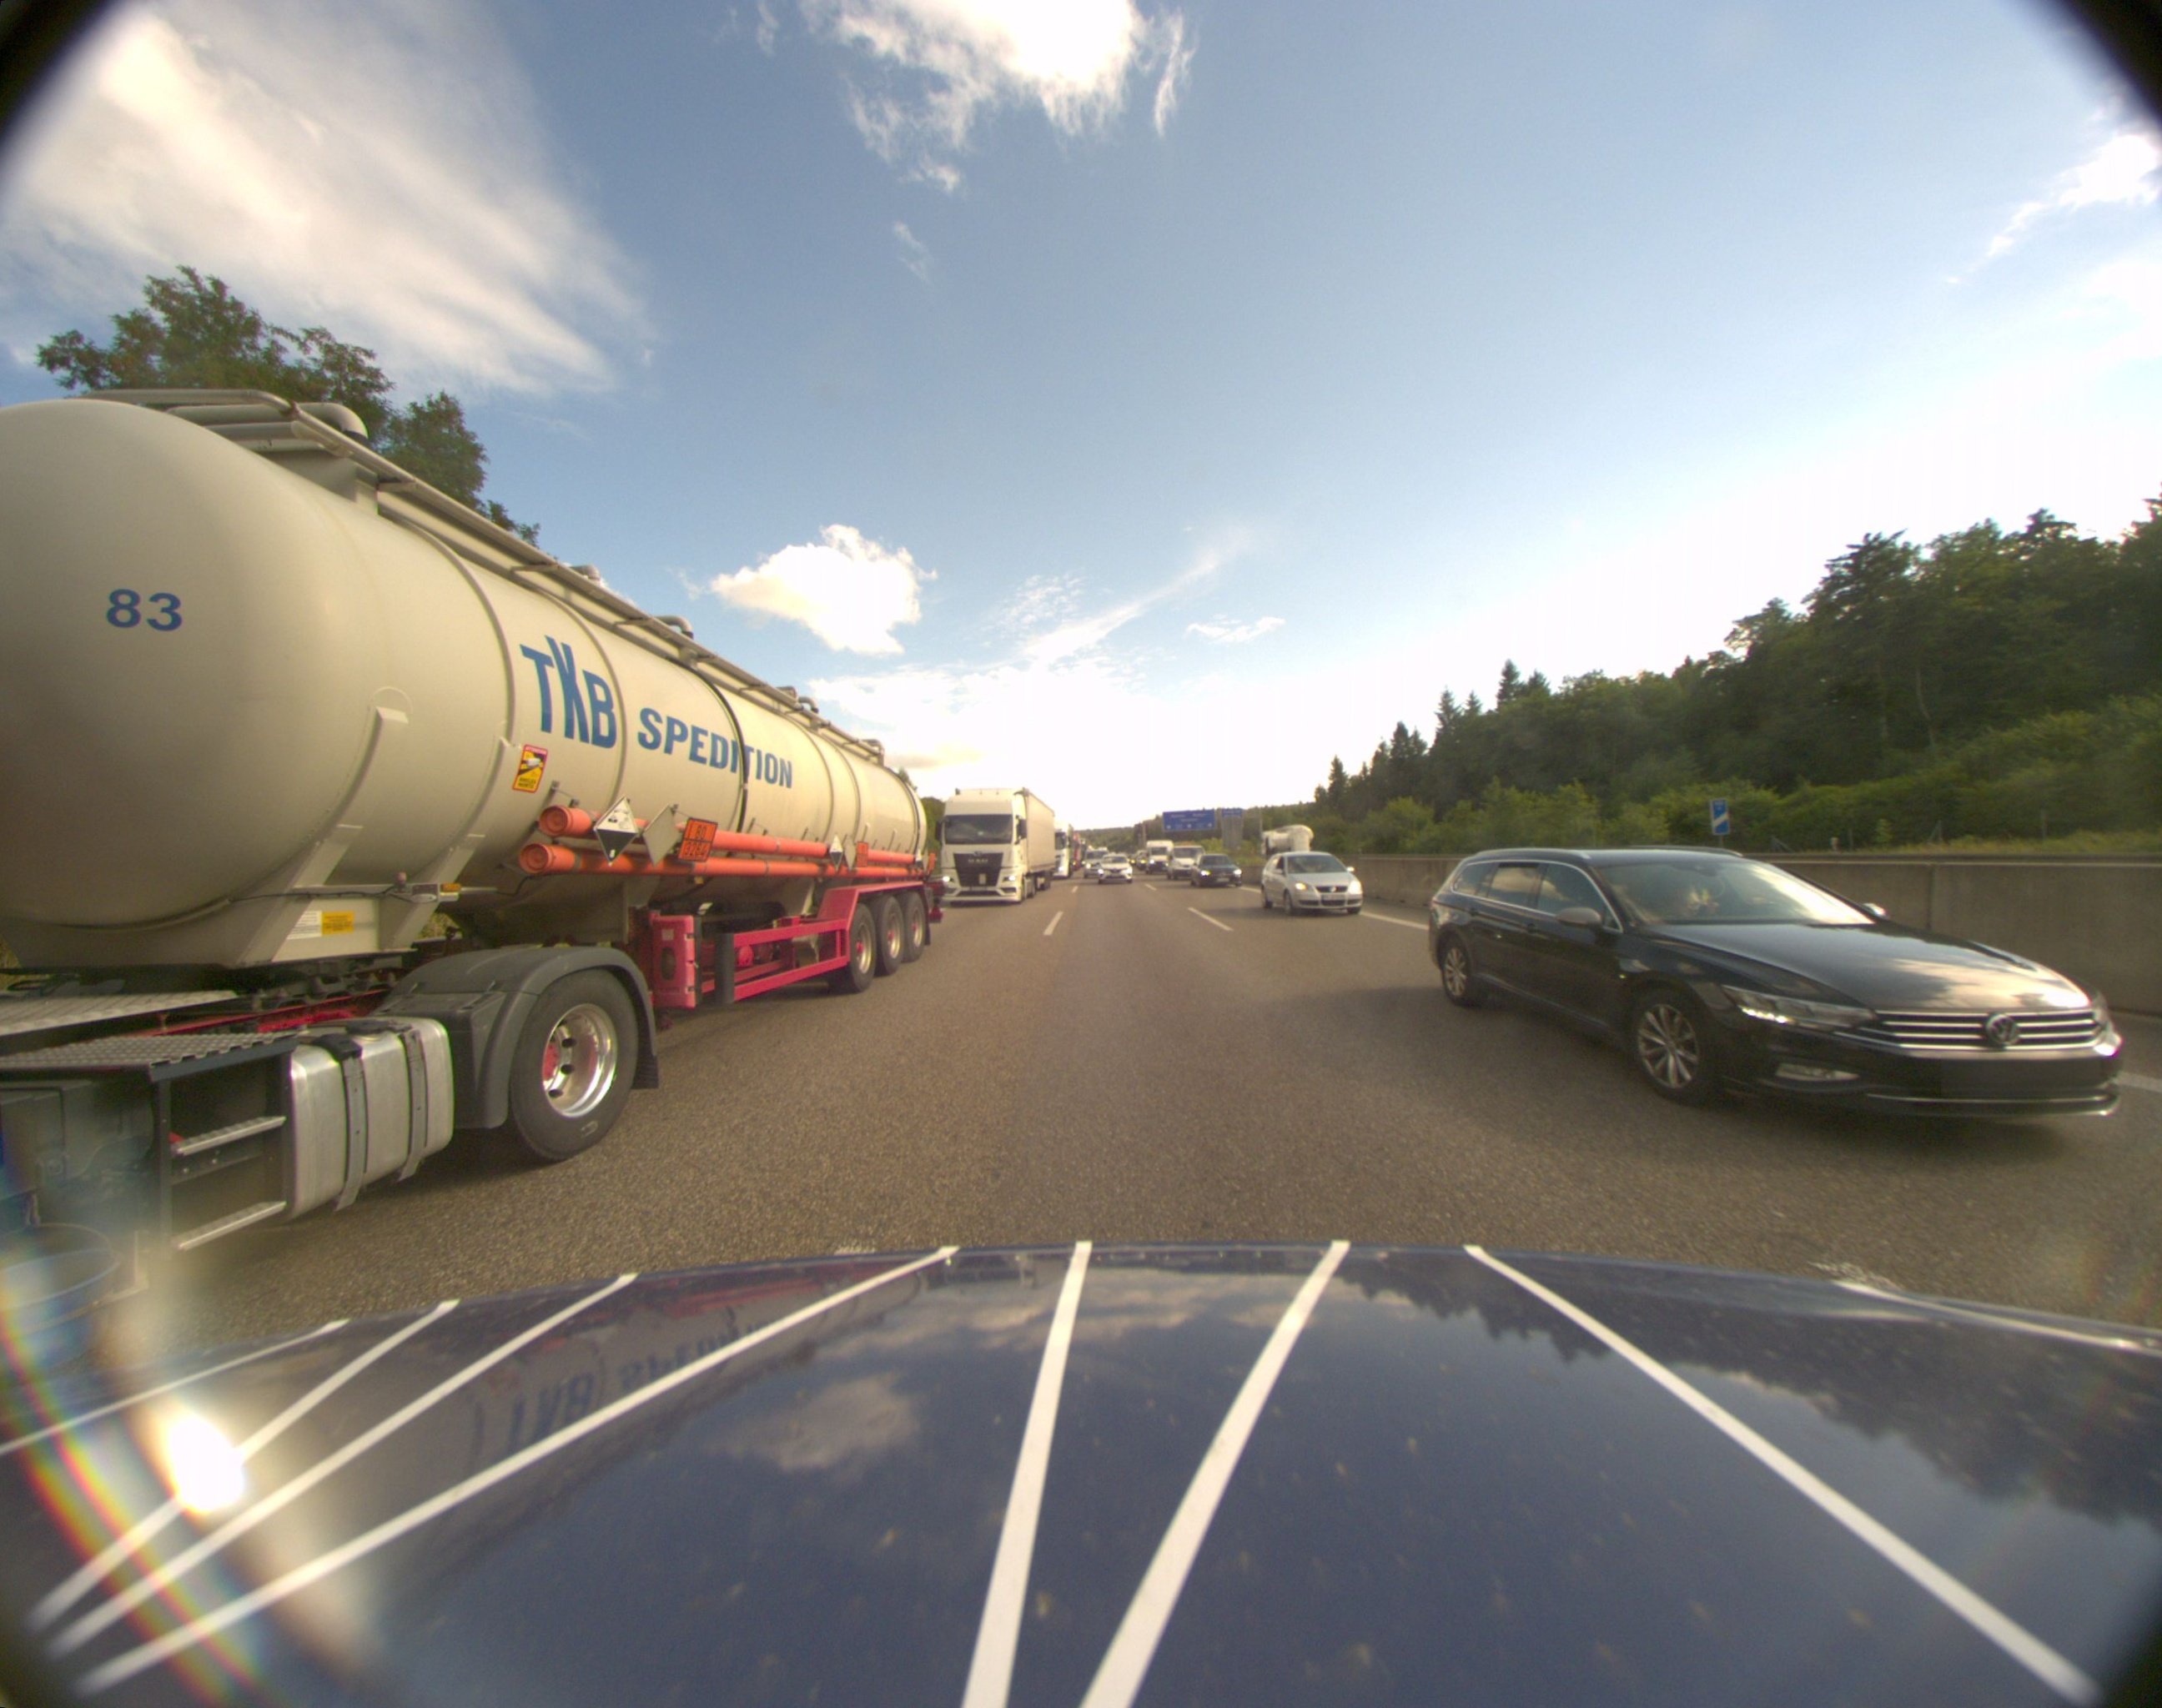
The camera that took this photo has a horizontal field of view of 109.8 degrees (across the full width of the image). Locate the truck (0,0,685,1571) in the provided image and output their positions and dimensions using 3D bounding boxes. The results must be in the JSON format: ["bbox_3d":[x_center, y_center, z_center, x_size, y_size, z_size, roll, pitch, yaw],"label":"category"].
[{"bbox_3d":[-4.009,-0.280,1.738,2.809,4.020,5.904,-2,1,2],"label":"truck"}]

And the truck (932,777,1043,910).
[{"bbox_3d":[-3.036,-0.345,26.431,2.840,4.048,5.708,-2,1,2],"label":"truck"}]

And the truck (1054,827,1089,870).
[{"bbox_3d":[-0.858,-0.632,82.375,2.840,4.178,12.045,-2,1,3],"label":"truck"}]

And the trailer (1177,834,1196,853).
[{"bbox_3d":[25.117,-2.467,181.492,2.841,4.178,13.561,-2,1,1],"label":"trailer"}]

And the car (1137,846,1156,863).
[{"bbox_3d":[7.400,0.072,86.244,1.920,1.785,3.811,-2,0,1],"label":"car"}]

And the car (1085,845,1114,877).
[{"bbox_3d":[1.287,0.440,52.554,1.809,2.052,4.770,-2,0,1],"label":"car"}]

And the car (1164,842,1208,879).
[{"bbox_3d":[5.995,0.360,43.851,1.947,1.953,4.848,-2,0,1],"label":"car"}]

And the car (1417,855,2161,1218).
[{"bbox_3d":[4.288,0.788,5.476,1.915,1.469,4.569,-2,0,3],"label":"car"}]

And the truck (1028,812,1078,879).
[{"bbox_3d":[-1.773,-0.557,51.158,2.841,4.178,5.708,-2,0,2],"label":"truck"}]

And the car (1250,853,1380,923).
[{"bbox_3d":[5.554,0.726,18.682,1.809,1.423,4.666,-2,0,1],"label":"car"}]

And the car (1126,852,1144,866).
[{"bbox_3d":[6.701,0.599,94.754,1.920,1.535,3.811,-2,0,1],"label":"car"}]

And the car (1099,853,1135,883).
[{"bbox_3d":[1.912,0.718,41.659,1.809,1.488,4.666,-1,0,1],"label":"car"}]

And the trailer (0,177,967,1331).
[{"bbox_3d":[-3.752,-0.330,8.281,2.805,4.003,11.182,-2,0,2],"label":"trailer"}]

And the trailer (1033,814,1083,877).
[{"bbox_3d":[-1.554,-0.599,58.228,2.841,4.177,13.613,-2,0,2],"label":"trailer"}]

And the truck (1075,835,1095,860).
[{"bbox_3d":[0.768,-1.192,136.687,2.840,4.178,12.045,-2,1,3],"label":"truck"}]

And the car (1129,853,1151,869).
[{"bbox_3d":[5.483,0.617,70.840,1.809,1.423,3.660,-2,0,1],"label":"car"}]

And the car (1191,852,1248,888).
[{"bbox_3d":[6.043,0.668,33.525,1.809,1.423,3.994,-2,0,1],"label":"car"}]

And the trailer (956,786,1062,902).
[{"bbox_3d":[-2.744,-0.396,33.777,2.832,4.047,13.372,-2,0,2],"label":"trailer"}]

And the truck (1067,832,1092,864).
[{"bbox_3d":[-0.114,-0.948,108.367,2.840,4.178,12.045,-2,1,3],"label":"truck"}]

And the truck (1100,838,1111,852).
[{"bbox_3d":[7.867,-2.871,241.757,2.840,4.178,12.045,-2,1,3],"label":"truck"}]

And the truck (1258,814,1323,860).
[{"bbox_3d":[21.657,-1.723,79.437,2.939,4.329,13.909,-2,1,1],"label":"truck"}]

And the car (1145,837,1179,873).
[{"bbox_3d":[6.107,0.050,57.978,2.054,2.557,5.861,-1,0,1],"label":"car"}]
